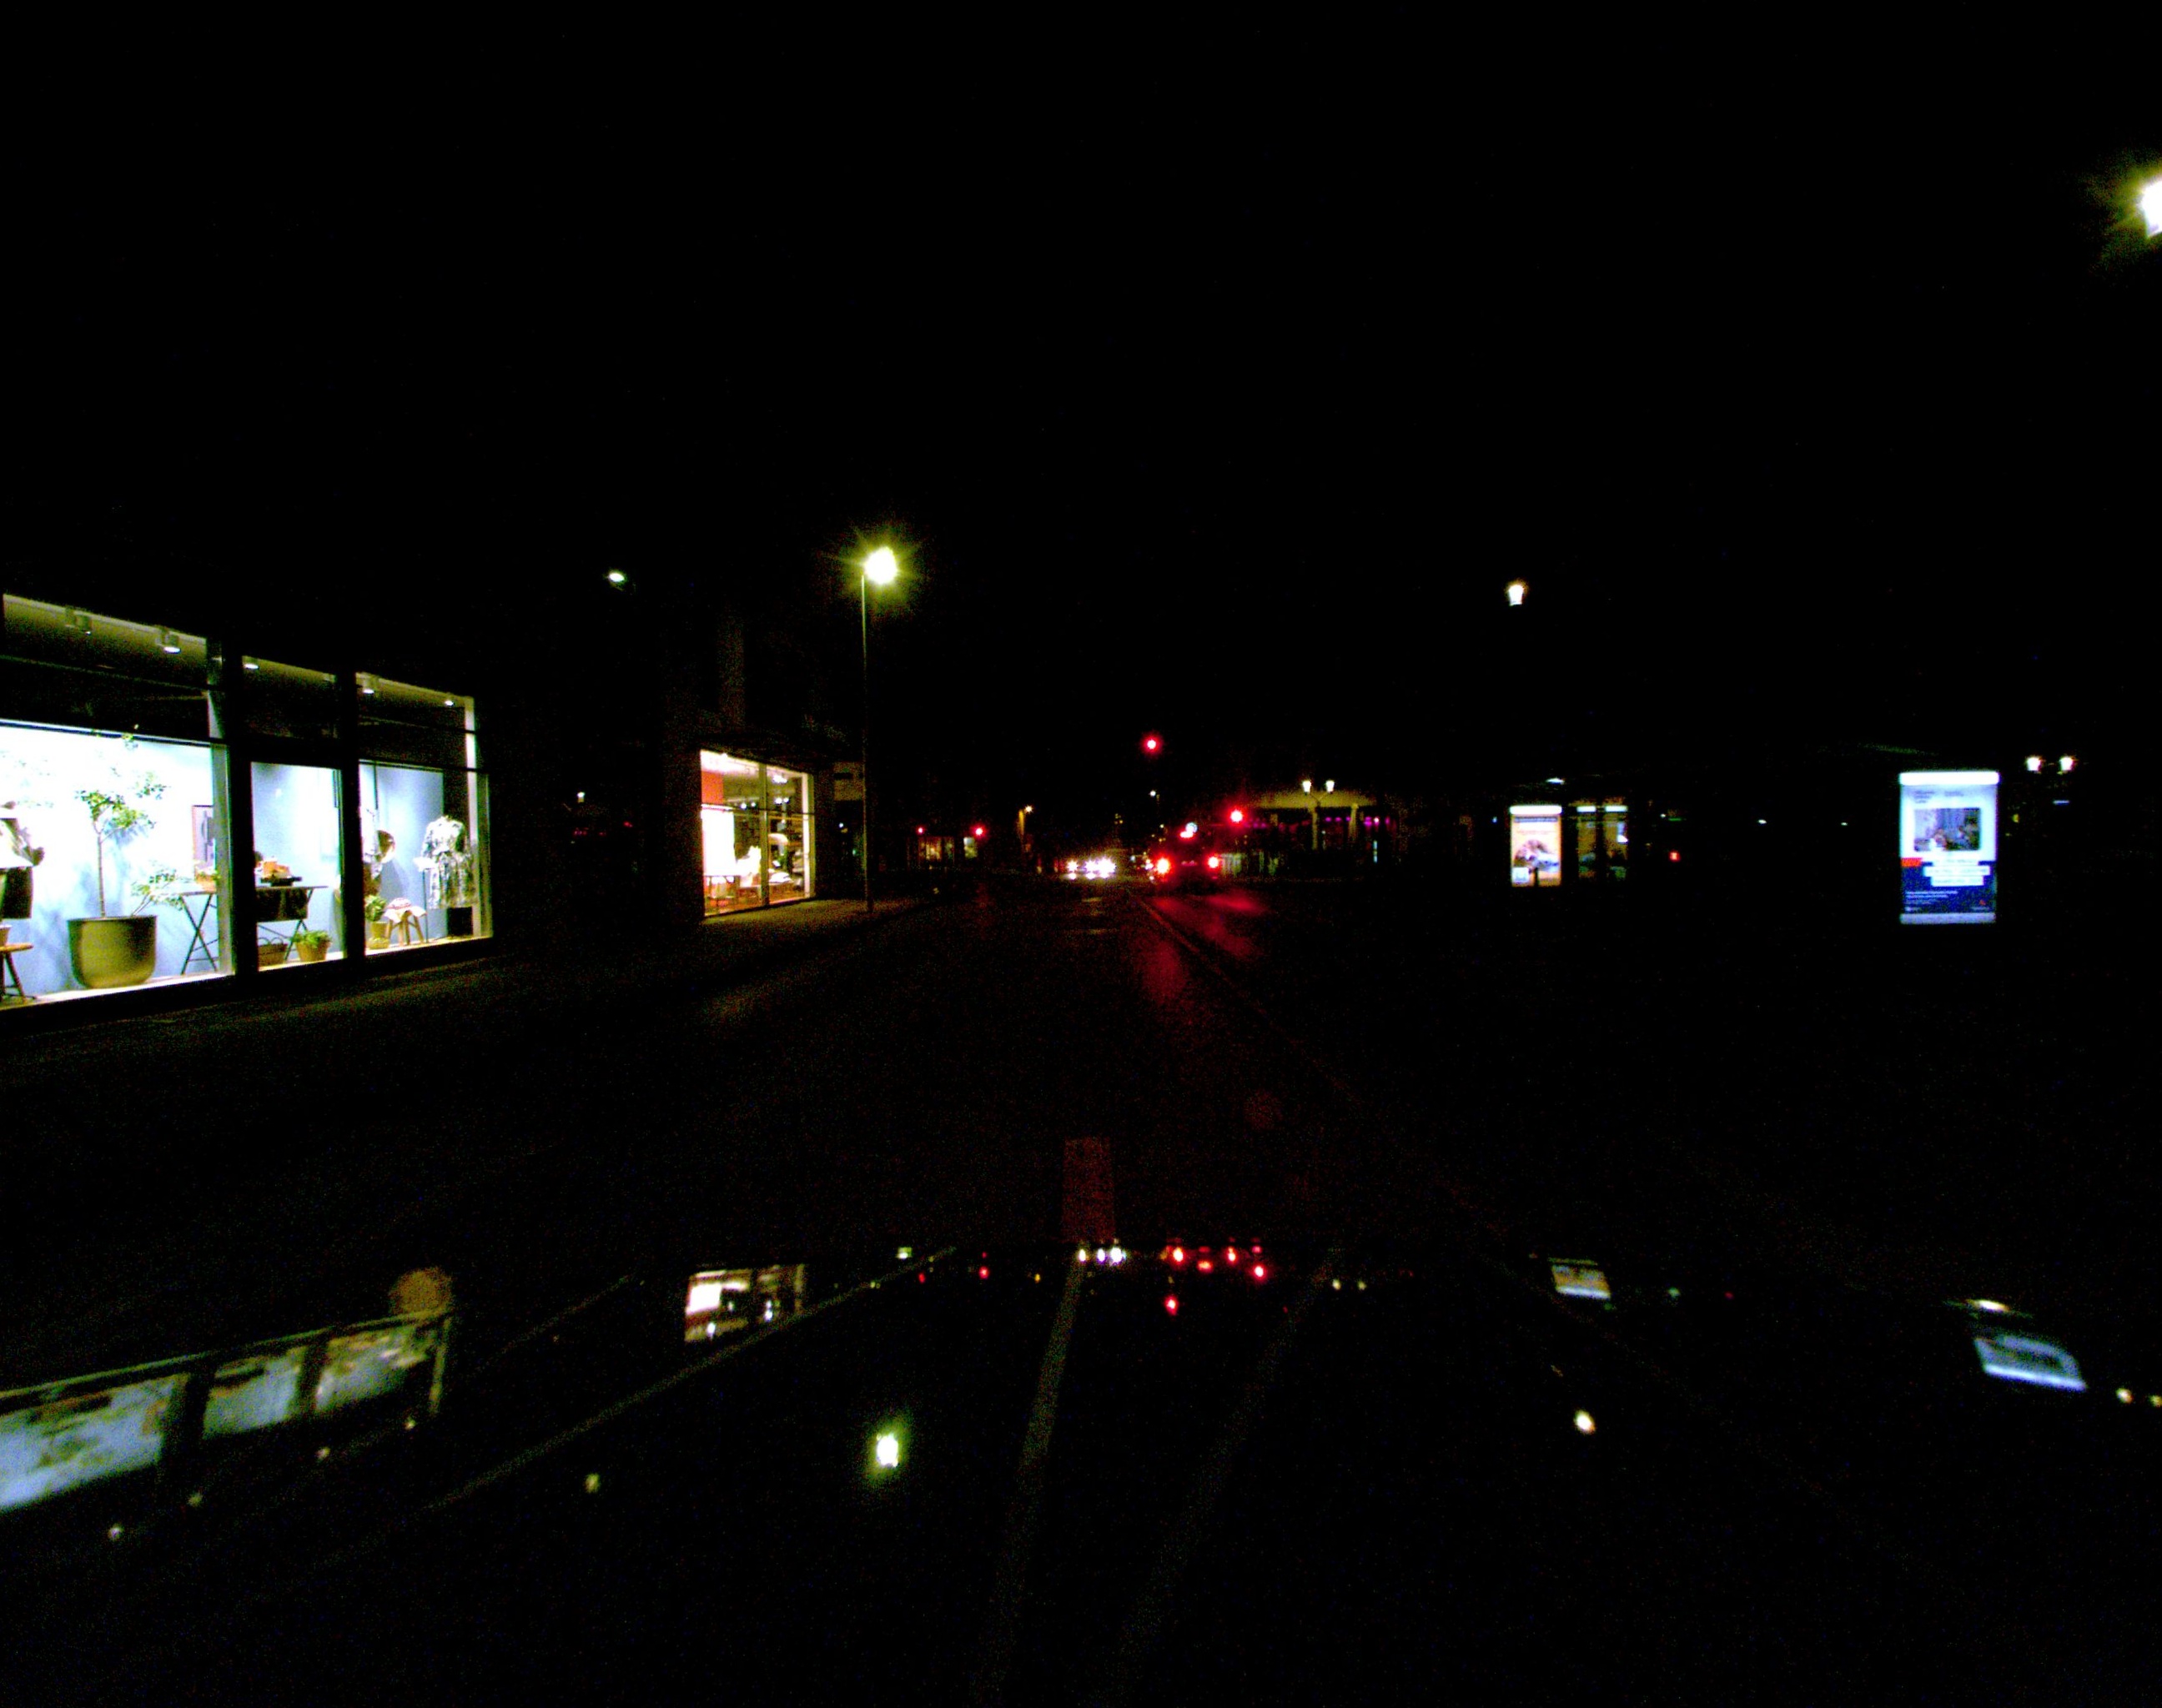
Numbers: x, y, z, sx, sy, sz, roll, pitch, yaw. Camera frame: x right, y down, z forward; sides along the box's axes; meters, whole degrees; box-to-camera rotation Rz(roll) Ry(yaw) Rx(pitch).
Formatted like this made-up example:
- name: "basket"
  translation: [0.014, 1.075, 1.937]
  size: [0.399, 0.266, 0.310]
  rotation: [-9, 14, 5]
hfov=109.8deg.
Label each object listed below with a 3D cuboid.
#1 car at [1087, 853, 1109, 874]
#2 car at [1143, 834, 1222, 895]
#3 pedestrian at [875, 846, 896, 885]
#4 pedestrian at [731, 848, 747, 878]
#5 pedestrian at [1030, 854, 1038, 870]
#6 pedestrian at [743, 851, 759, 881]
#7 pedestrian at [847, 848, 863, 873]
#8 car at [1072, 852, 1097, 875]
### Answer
- name: "car"
  translation: [1.492, 0.796, 67.991]
  size: [1.879, 1.718, 3.999]
  rotation: [-2, 1, 1]
- name: "car"
  translation: [3.337, 0.293, 25.929]
  size: [1.972, 1.861, 4.911]
  rotation: [-1, 1, 0]
- name: "pedestrian"
  translation: [-8.436, 0.496, 32.849]
  size: [0.539, 1.672, 0.648]
  rotation: [-2, 1, 23]
- name: "pedestrian"
  translation: [-20.112, 0.511, 44.670]
  size: [0.567, 1.707, 0.567]
  rotation: [-2, 1, 7]
- name: "pedestrian"
  translation: [-4.334, 0.704, 69.966]
  size: [0.647, 1.487, 0.830]
  rotation: [0, 1, 2]
- name: "pedestrian"
  translation: [-19.160, 0.681, 44.130]
  size: [0.524, 1.707, 0.567]
  rotation: [-2, 1, 6]
- name: "pedestrian"
  translation: [-15.574, 0.426, 52.338]
  size: [0.877, 1.723, 0.647]
  rotation: [0, 1, 4]
- name: "car"
  translation: [0.285, 0.701, 60.261]
  size: [1.713, 1.660, 3.738]
  rotation: [-2, 1, 3]
